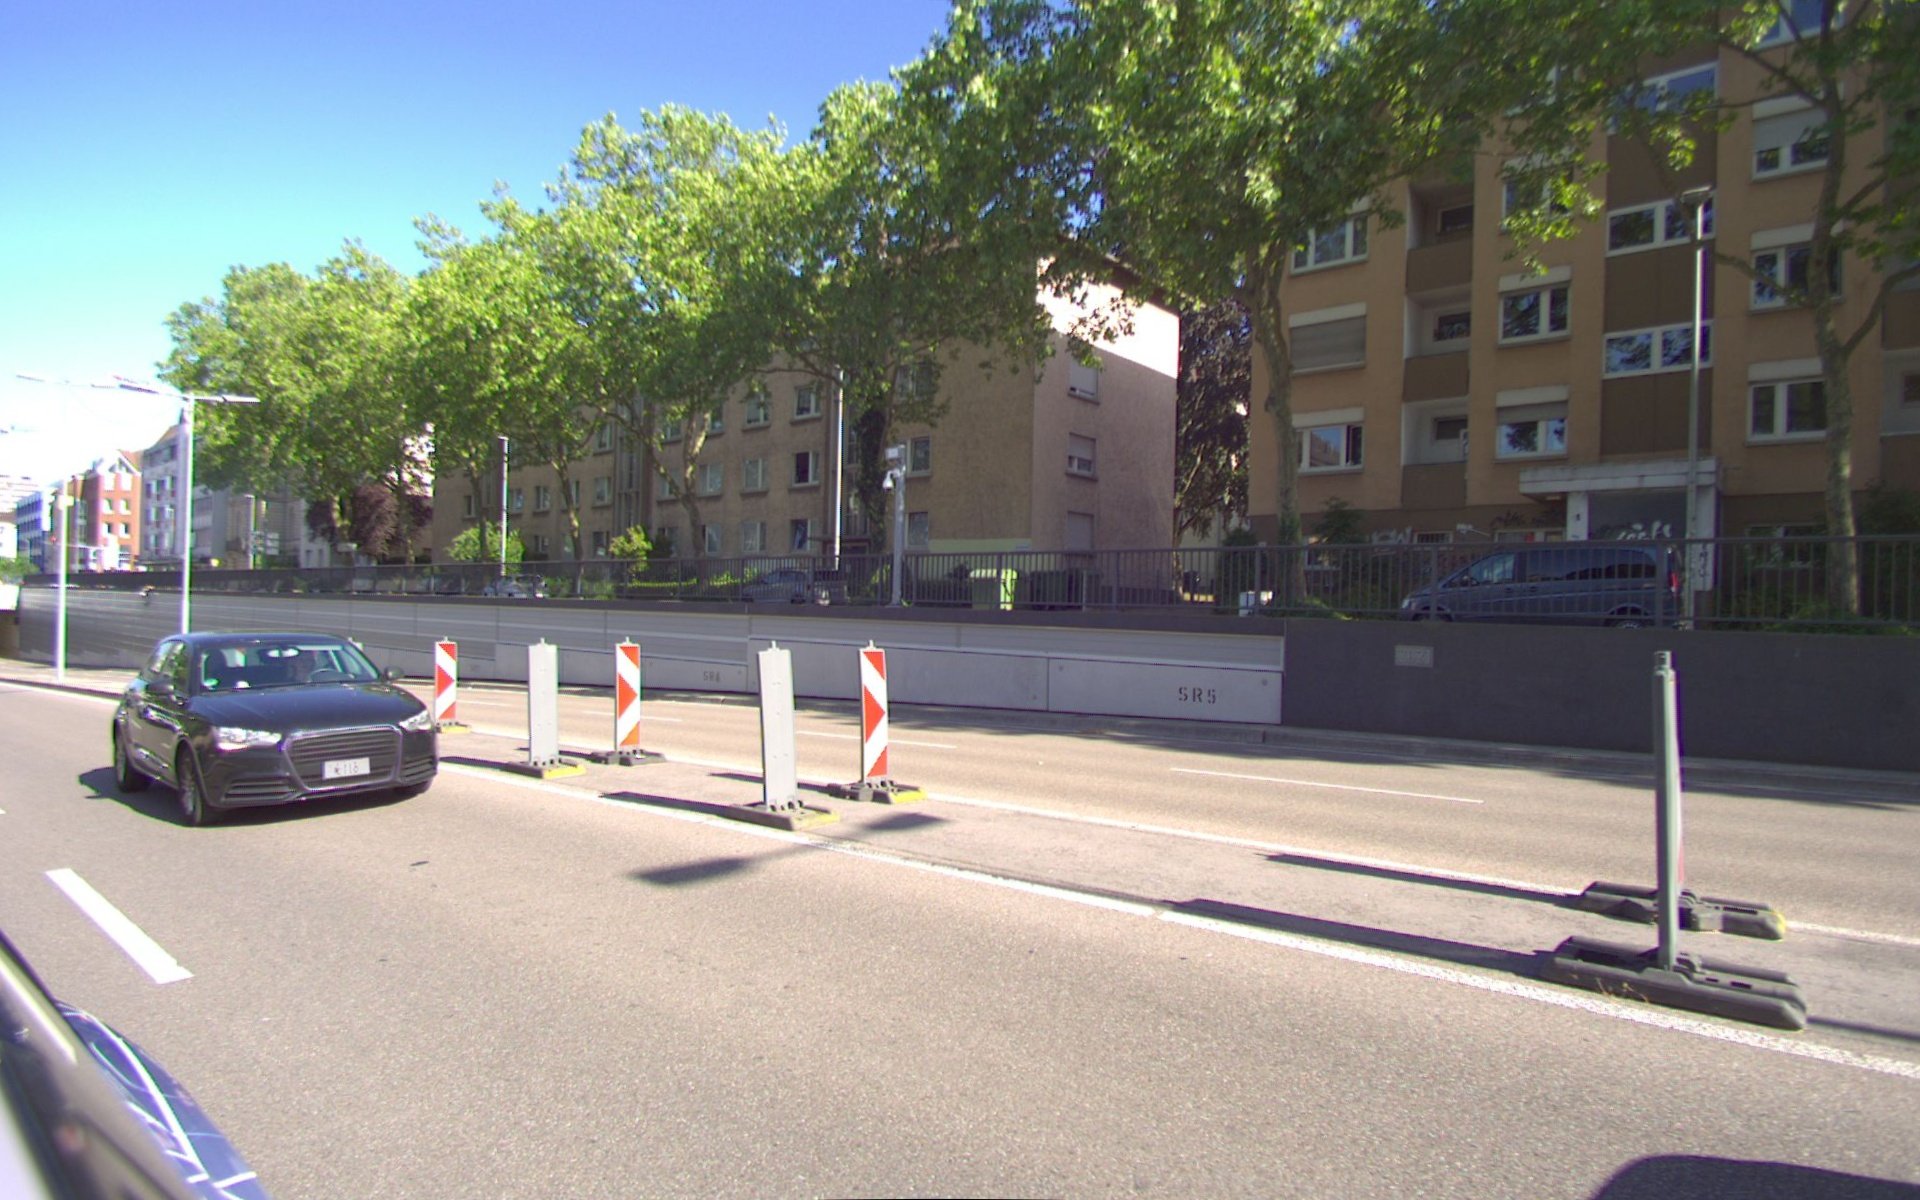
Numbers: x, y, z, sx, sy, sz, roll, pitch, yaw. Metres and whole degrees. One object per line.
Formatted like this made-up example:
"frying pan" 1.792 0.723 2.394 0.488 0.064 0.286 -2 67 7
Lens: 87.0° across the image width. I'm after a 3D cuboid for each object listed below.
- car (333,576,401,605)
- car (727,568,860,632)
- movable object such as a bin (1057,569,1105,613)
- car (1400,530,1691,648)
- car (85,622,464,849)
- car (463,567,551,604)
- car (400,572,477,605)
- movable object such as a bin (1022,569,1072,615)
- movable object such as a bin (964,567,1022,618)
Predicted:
"car" -33.791 -0.528 57.638 4.299 1.596 1.902 0 0 39
"car" -5.529 -0.004 33.358 4.411 1.975 1.945 0 0 41
"movable object such as a bin" 4.209 -0.299 35.059 1.146 1.495 1.301 0 0 38
"car" 10.929 -0.183 19.063 4.522 1.975 1.946 0 0 39
"car" -5.946 0.938 8.612 3.885 1.429 1.678 0 0 40
"car" -20.648 -0.619 46.090 4.299 1.596 1.902 0 0 39
"car" -26.629 -0.554 51.615 4.299 1.596 1.902 0 0 39
"movable object such as a bin" 2.915 -0.267 33.873 1.146 1.495 1.301 0 0 38
"movable object such as a bin" 1.007 -0.231 30.765 1.354 1.495 1.196 0 0 33
